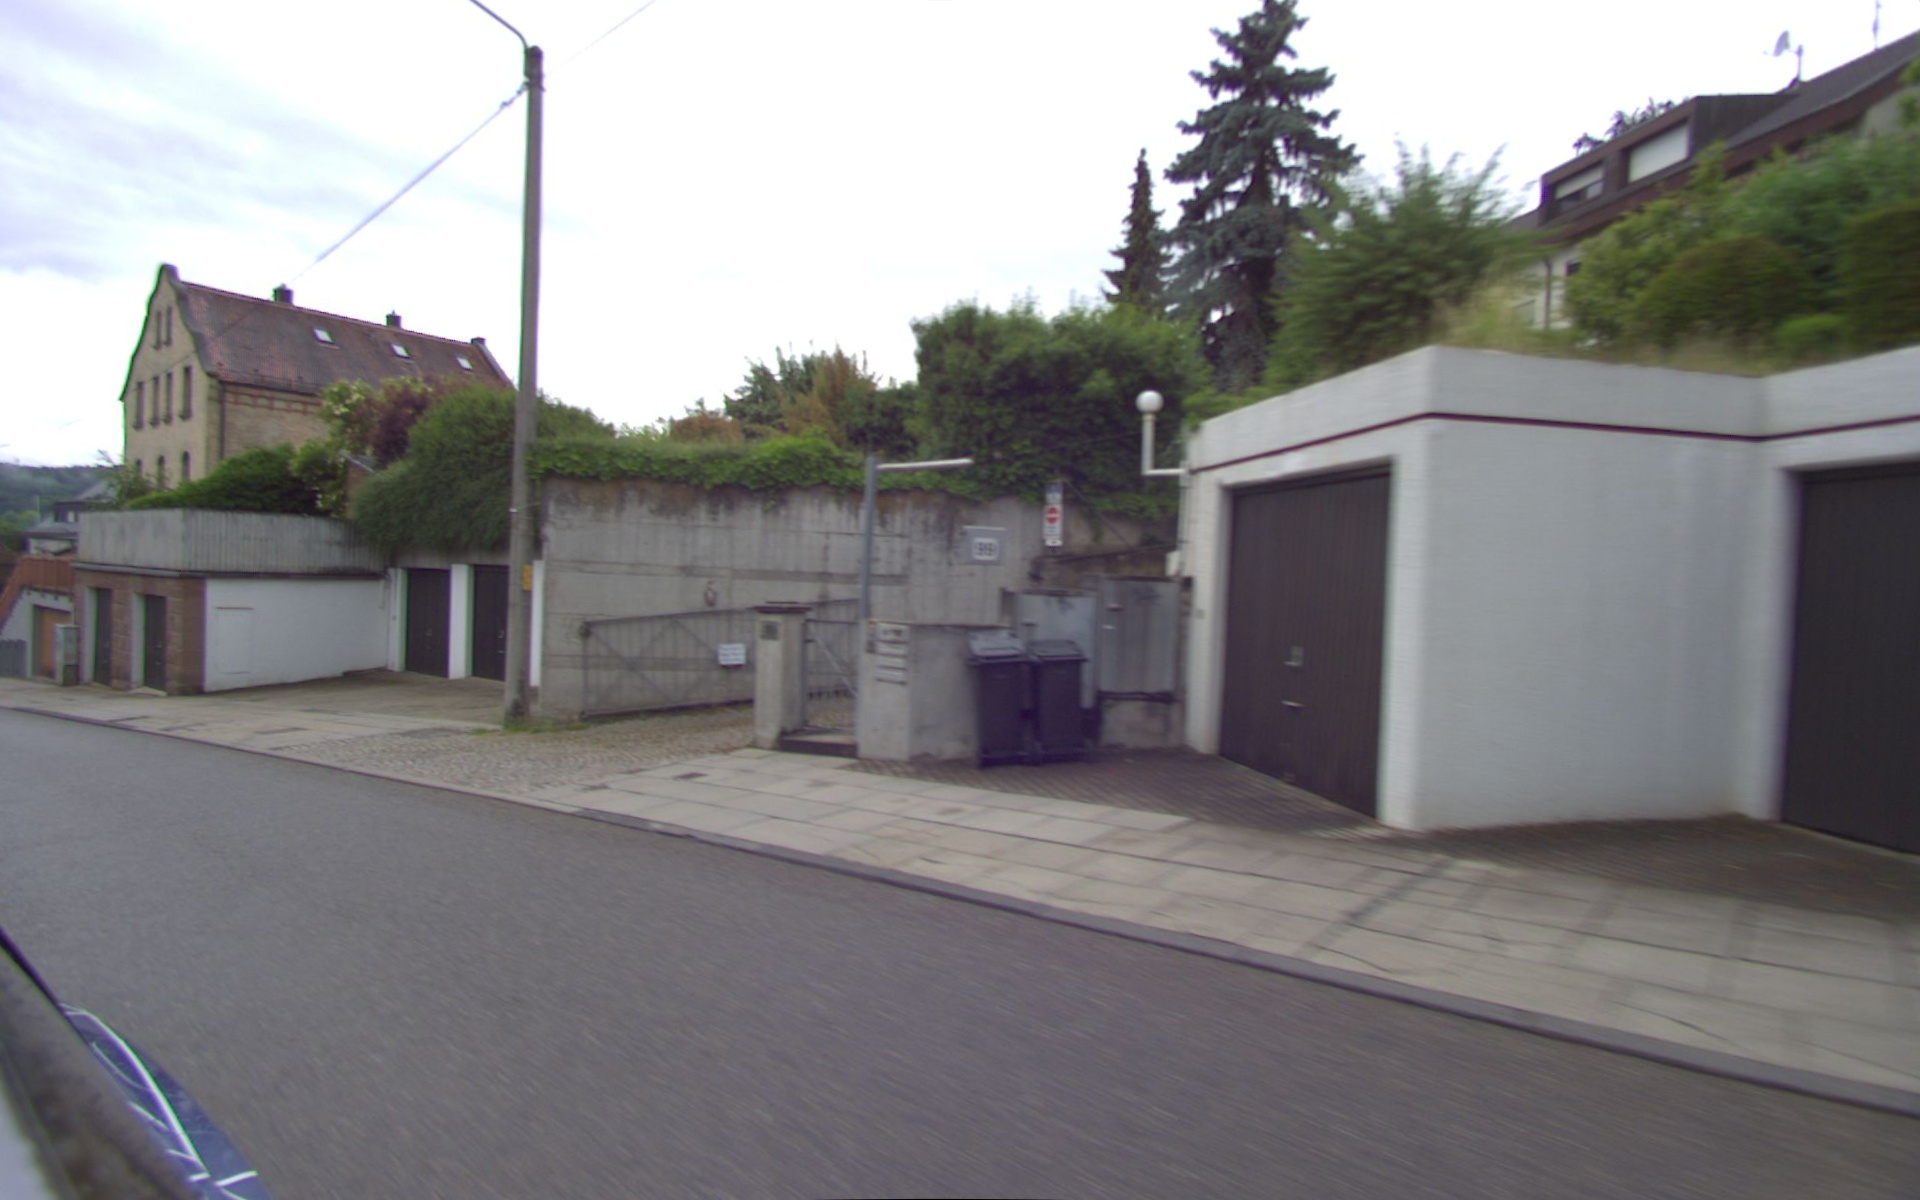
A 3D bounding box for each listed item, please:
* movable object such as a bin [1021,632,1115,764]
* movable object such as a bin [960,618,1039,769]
[{"bbox_3d":[0.881,0.791,8.393,0.600,0.999,0.602,-2,0,-8],"label":"movable object such as a bin"},{"bbox_3d":[0.313,0.744,8.307,0.520,1.155,0.602,-1,1,-8],"label":"movable object such as a bin"}]
